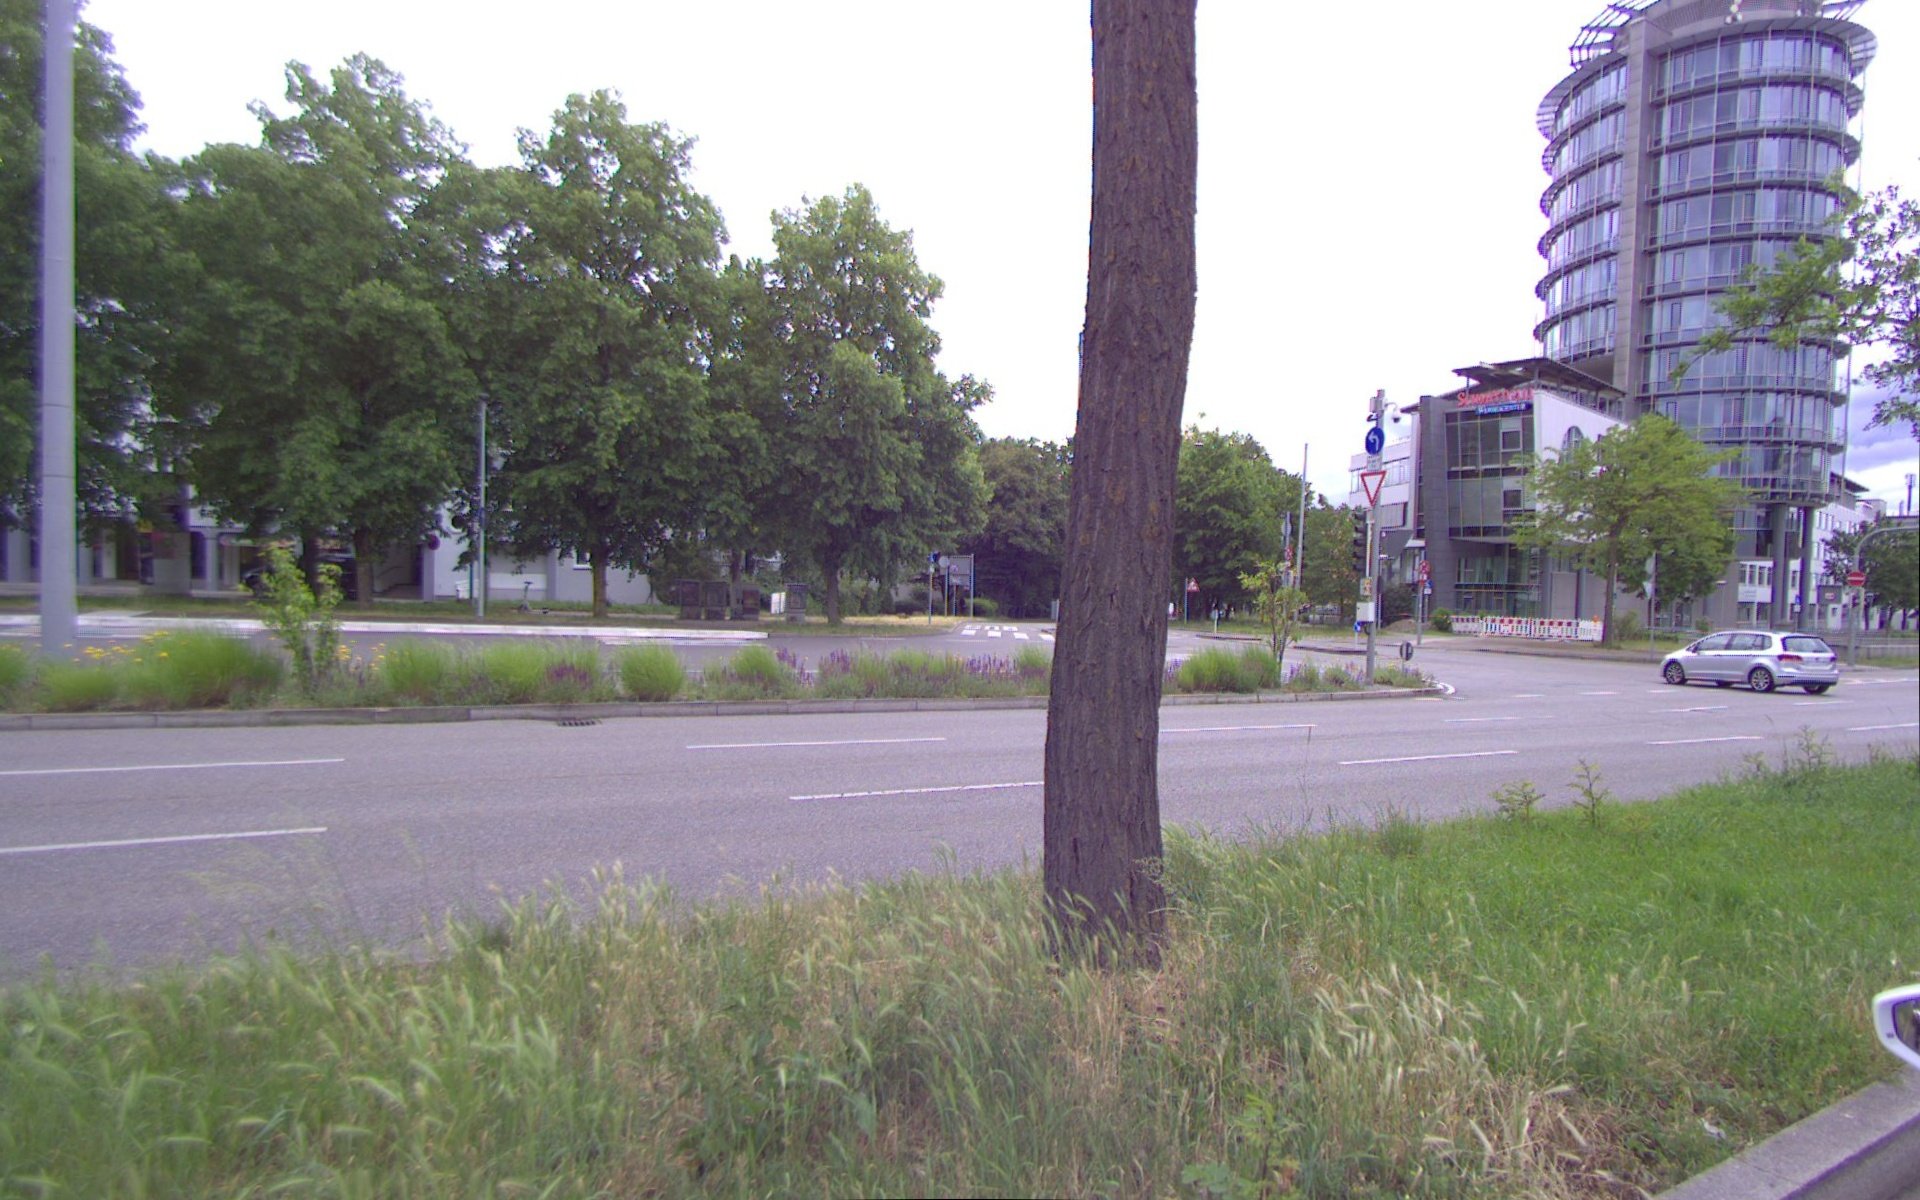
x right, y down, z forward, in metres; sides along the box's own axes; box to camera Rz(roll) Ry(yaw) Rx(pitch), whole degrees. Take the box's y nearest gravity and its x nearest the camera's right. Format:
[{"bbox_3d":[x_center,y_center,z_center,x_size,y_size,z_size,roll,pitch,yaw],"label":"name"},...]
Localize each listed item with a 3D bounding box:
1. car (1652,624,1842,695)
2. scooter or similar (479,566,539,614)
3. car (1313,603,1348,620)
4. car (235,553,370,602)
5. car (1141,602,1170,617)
[{"bbox_3d":[20.936,1.530,26.930,1.527,1.590,3.993,2,0,-9],"label":"car"},{"bbox_3d":[-16.218,-0.350,36.139,1.835,1.686,0.645,2,0,-43],"label":"scooter or similar"},{"bbox_3d":[20.823,0.633,56.421,1.684,0.888,0.776,2,0,8],"label":"car"},{"bbox_3d":[-27.616,-0.922,42.320,4.345,1.872,1.782,2,0,-16],"label":"car"},{"bbox_3d":[33.518,1.574,172.227,4.475,2.370,1.994,3,0,-15],"label":"car"}]
